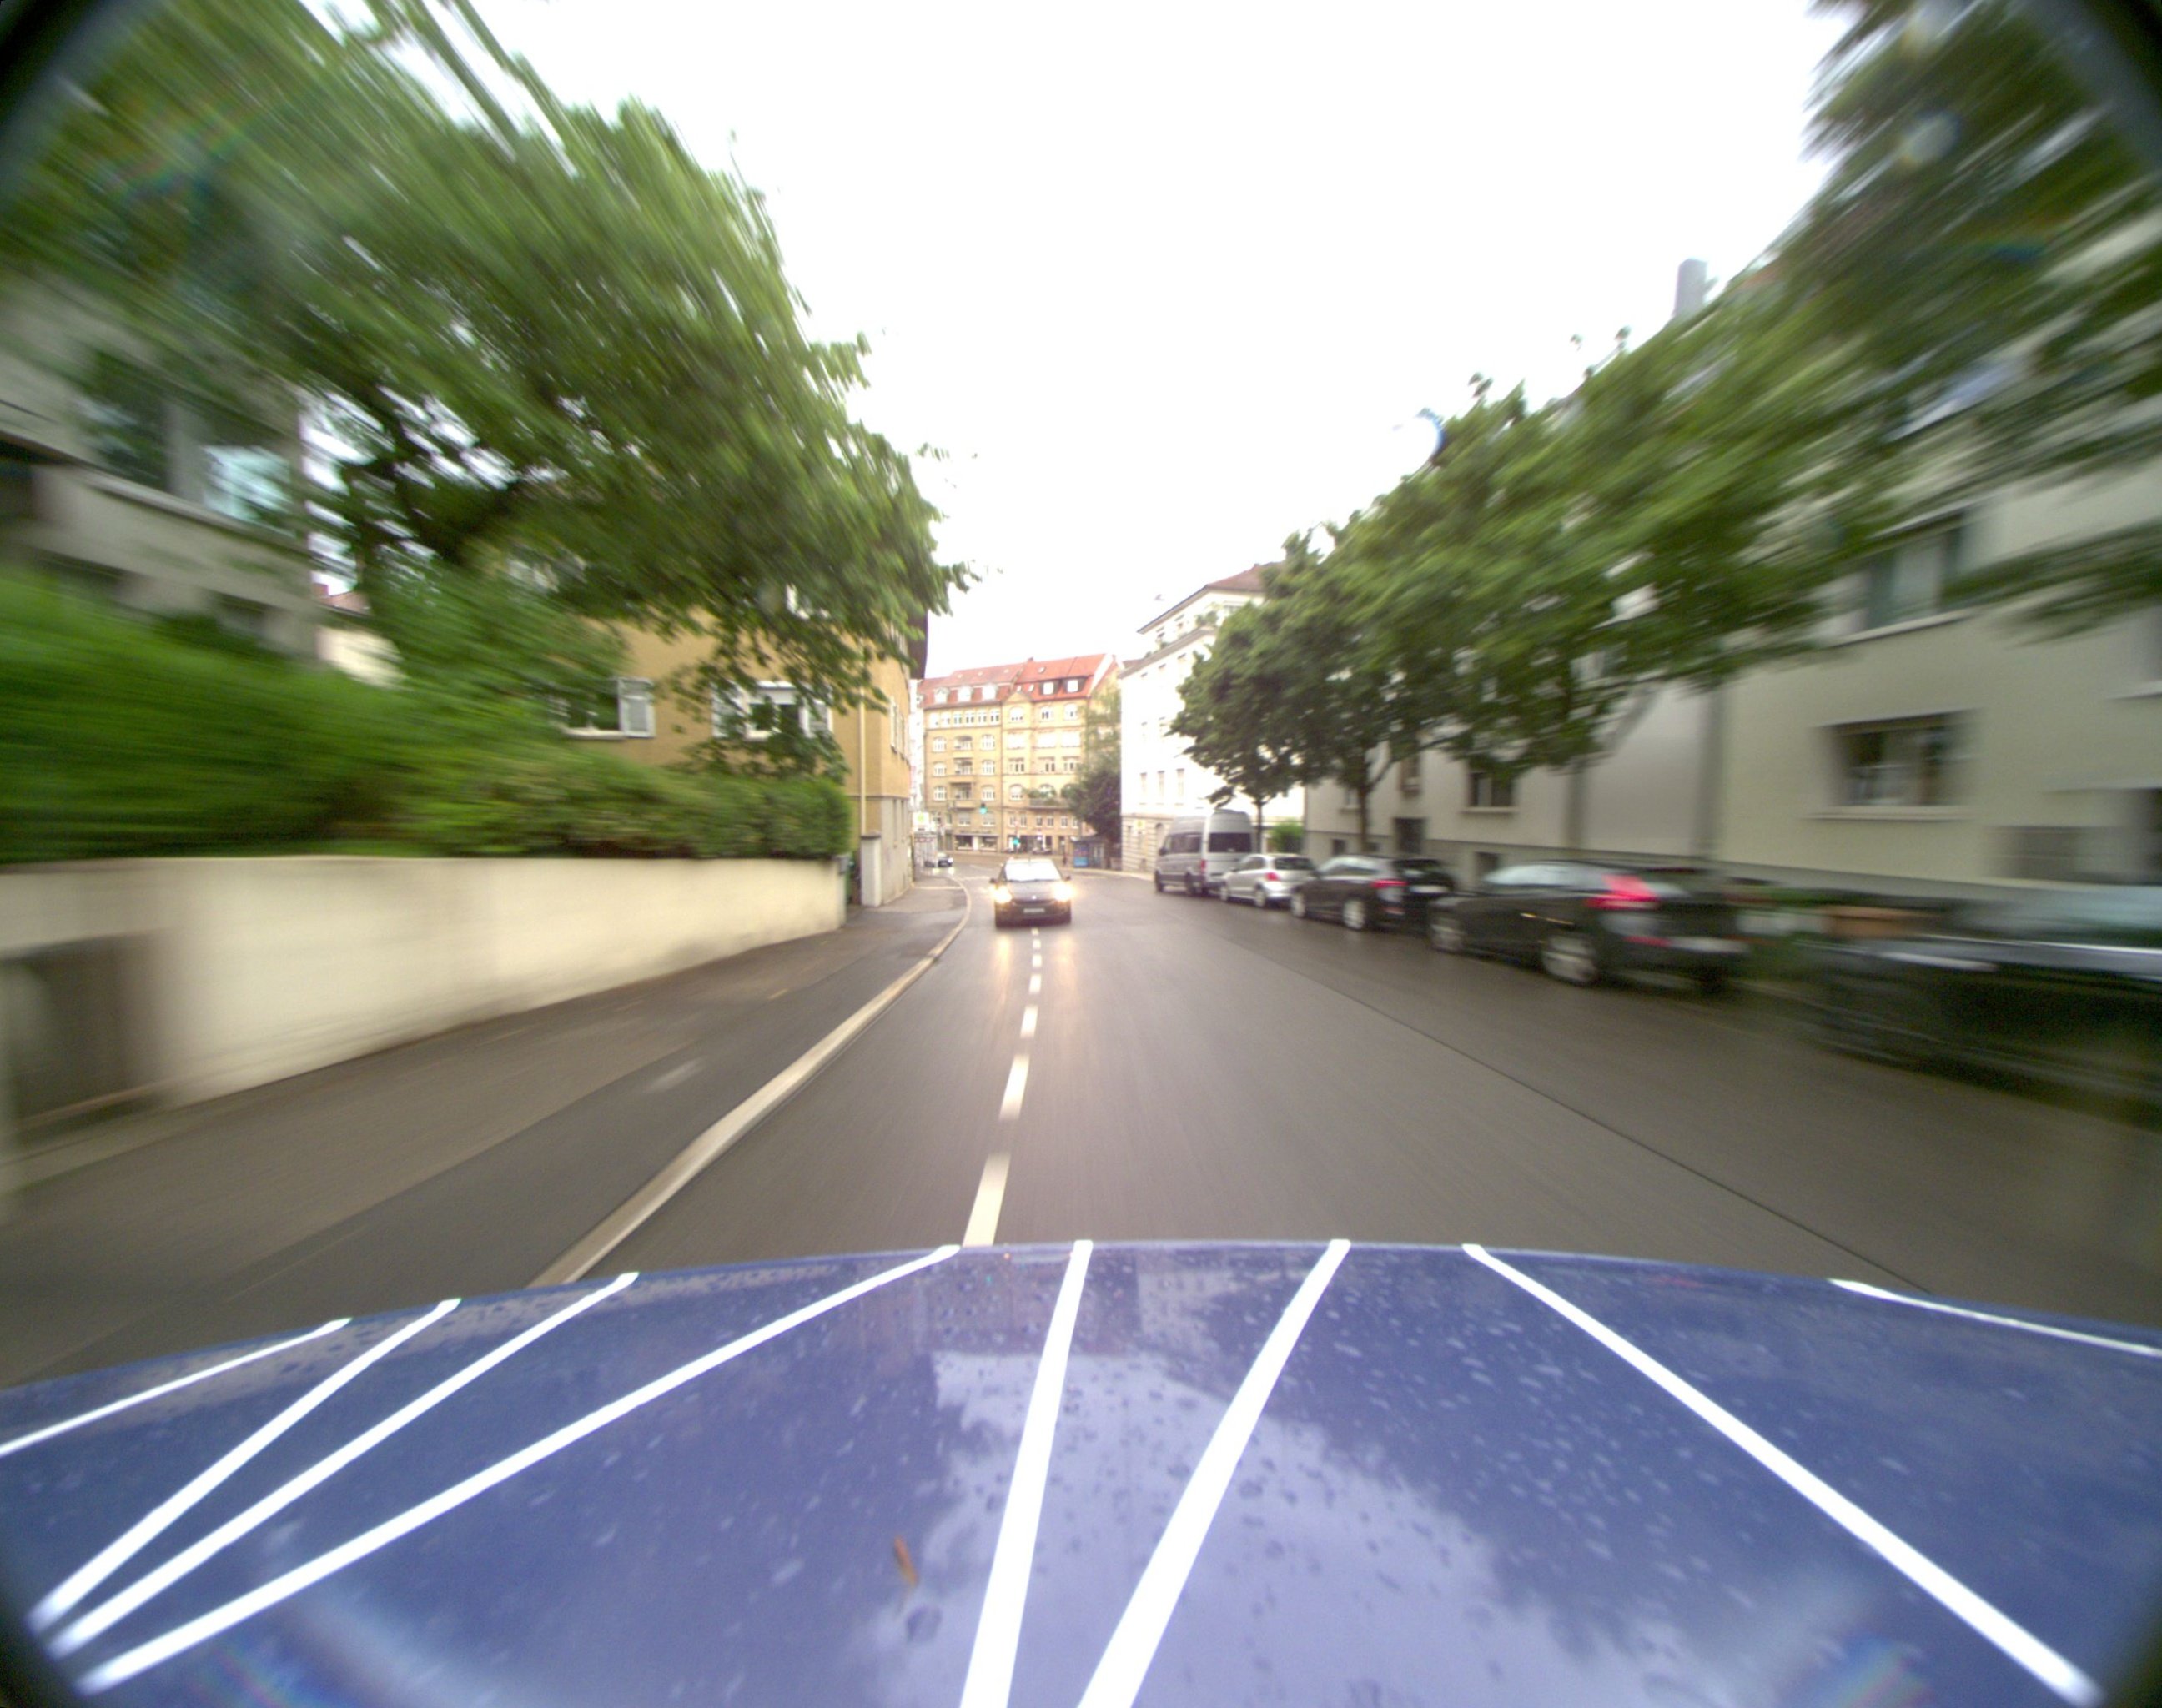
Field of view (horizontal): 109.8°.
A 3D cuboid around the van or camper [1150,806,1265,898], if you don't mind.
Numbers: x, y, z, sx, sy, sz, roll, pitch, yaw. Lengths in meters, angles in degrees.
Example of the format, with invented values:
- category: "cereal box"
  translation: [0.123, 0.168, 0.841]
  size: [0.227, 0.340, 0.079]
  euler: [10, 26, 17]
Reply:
- category: "van or camper"
  translation: [4.239, -0.068, 26.607]
  size: [2.074, 2.843, 5.741]
  euler: [1, 0, -11]

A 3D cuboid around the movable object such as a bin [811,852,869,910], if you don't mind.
- category: "movable object such as a bin"
  translation: [-6.354, 0.686, 20.093]
  size: [1.254, 1.447, 0.826]
  euler: [-2, 1, -8]

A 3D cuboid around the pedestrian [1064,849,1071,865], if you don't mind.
- category: "pedestrian"
  translation: [-1.321, 0.301, 74.338]
  size: [0.651, 1.571, 0.805]
  euler: [-1, 1, -6]

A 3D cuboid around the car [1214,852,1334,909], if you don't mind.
- category: "car"
  translation: [5.176, 0.644, 20.951]
  size: [1.592, 1.401, 4.042]
  euler: [0, 0, -12]

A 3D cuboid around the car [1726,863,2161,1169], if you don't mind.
- category: "car"
  translation: [6.310, 0.833, 4.156]
  size: [1.792, 1.484, 4.360]
  euler: [0, 0, -1]

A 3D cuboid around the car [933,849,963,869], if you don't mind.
- category: "car"
  translation: [-12.817, 0.461, 72.828]
  size: [1.900, 1.686, 3.992]
  euler: [-3, 1, -23]

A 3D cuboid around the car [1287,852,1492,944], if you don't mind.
- category: "car"
  translation: [5.737, 0.736, 14.859]
  size: [1.793, 1.484, 4.495]
  euler: [1, 0, -6]

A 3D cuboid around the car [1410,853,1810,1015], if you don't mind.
- category: "car"
  translation: [6.126, 0.771, 9.660]
  size: [1.792, 1.484, 4.643]
  euler: [-1, 1, -1]

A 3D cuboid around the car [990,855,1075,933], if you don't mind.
- category: "car"
  translation: [-1.229, 0.840, 17.868]
  size: [1.699, 1.456, 3.997]
  euler: [-4, 1, -6]
